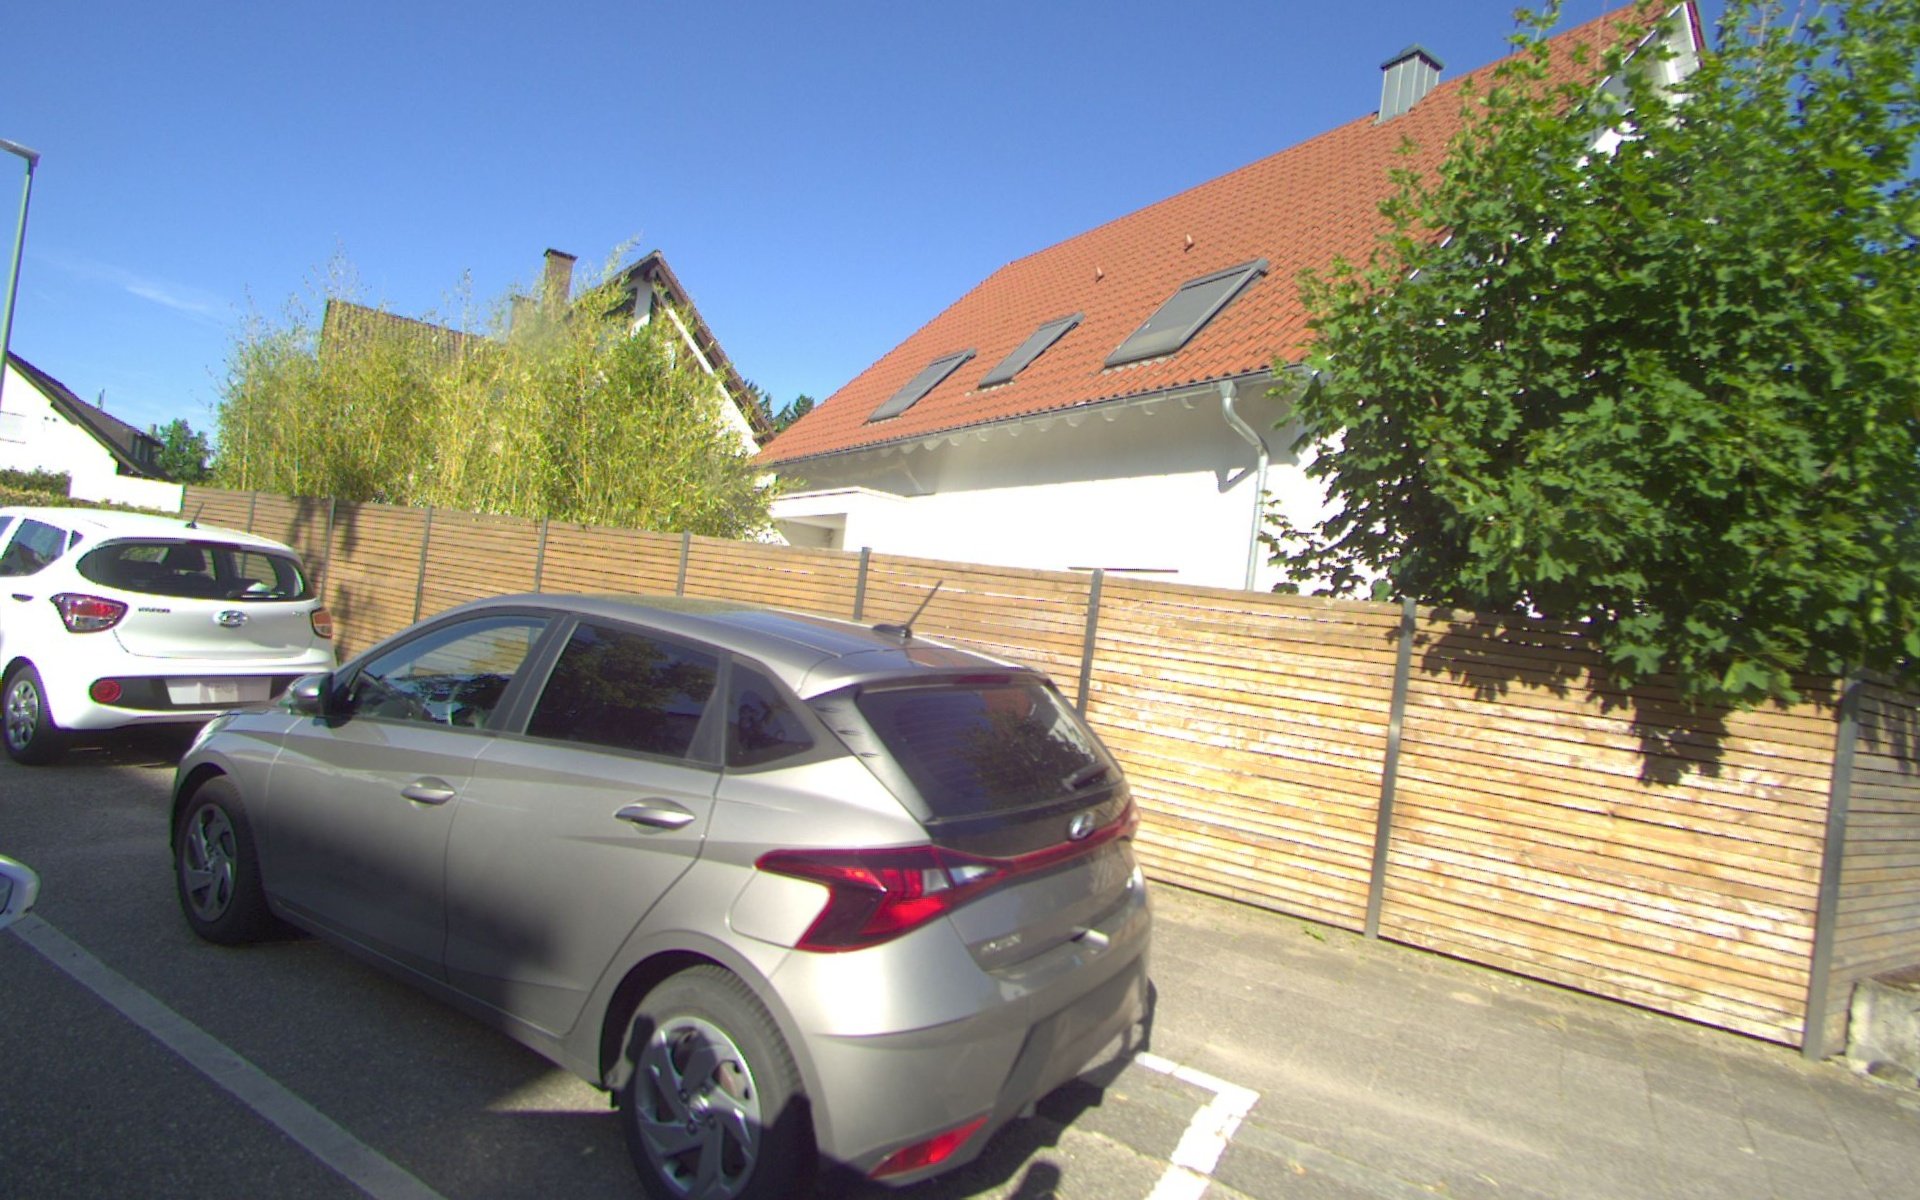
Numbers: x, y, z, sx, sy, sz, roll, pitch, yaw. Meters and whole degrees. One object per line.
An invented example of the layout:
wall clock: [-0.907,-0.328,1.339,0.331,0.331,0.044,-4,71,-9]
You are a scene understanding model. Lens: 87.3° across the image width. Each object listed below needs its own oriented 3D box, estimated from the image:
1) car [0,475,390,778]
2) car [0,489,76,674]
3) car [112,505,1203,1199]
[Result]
car: [-6.129,0.062,7.131,3.749,1.619,1.729,7,-2,28]
car: [-10.301,-0.388,9.427,3.749,1.619,1.661,7,-2,28]
car: [-1.298,0.619,3.723,3.825,1.511,1.644,6,-1,32]
